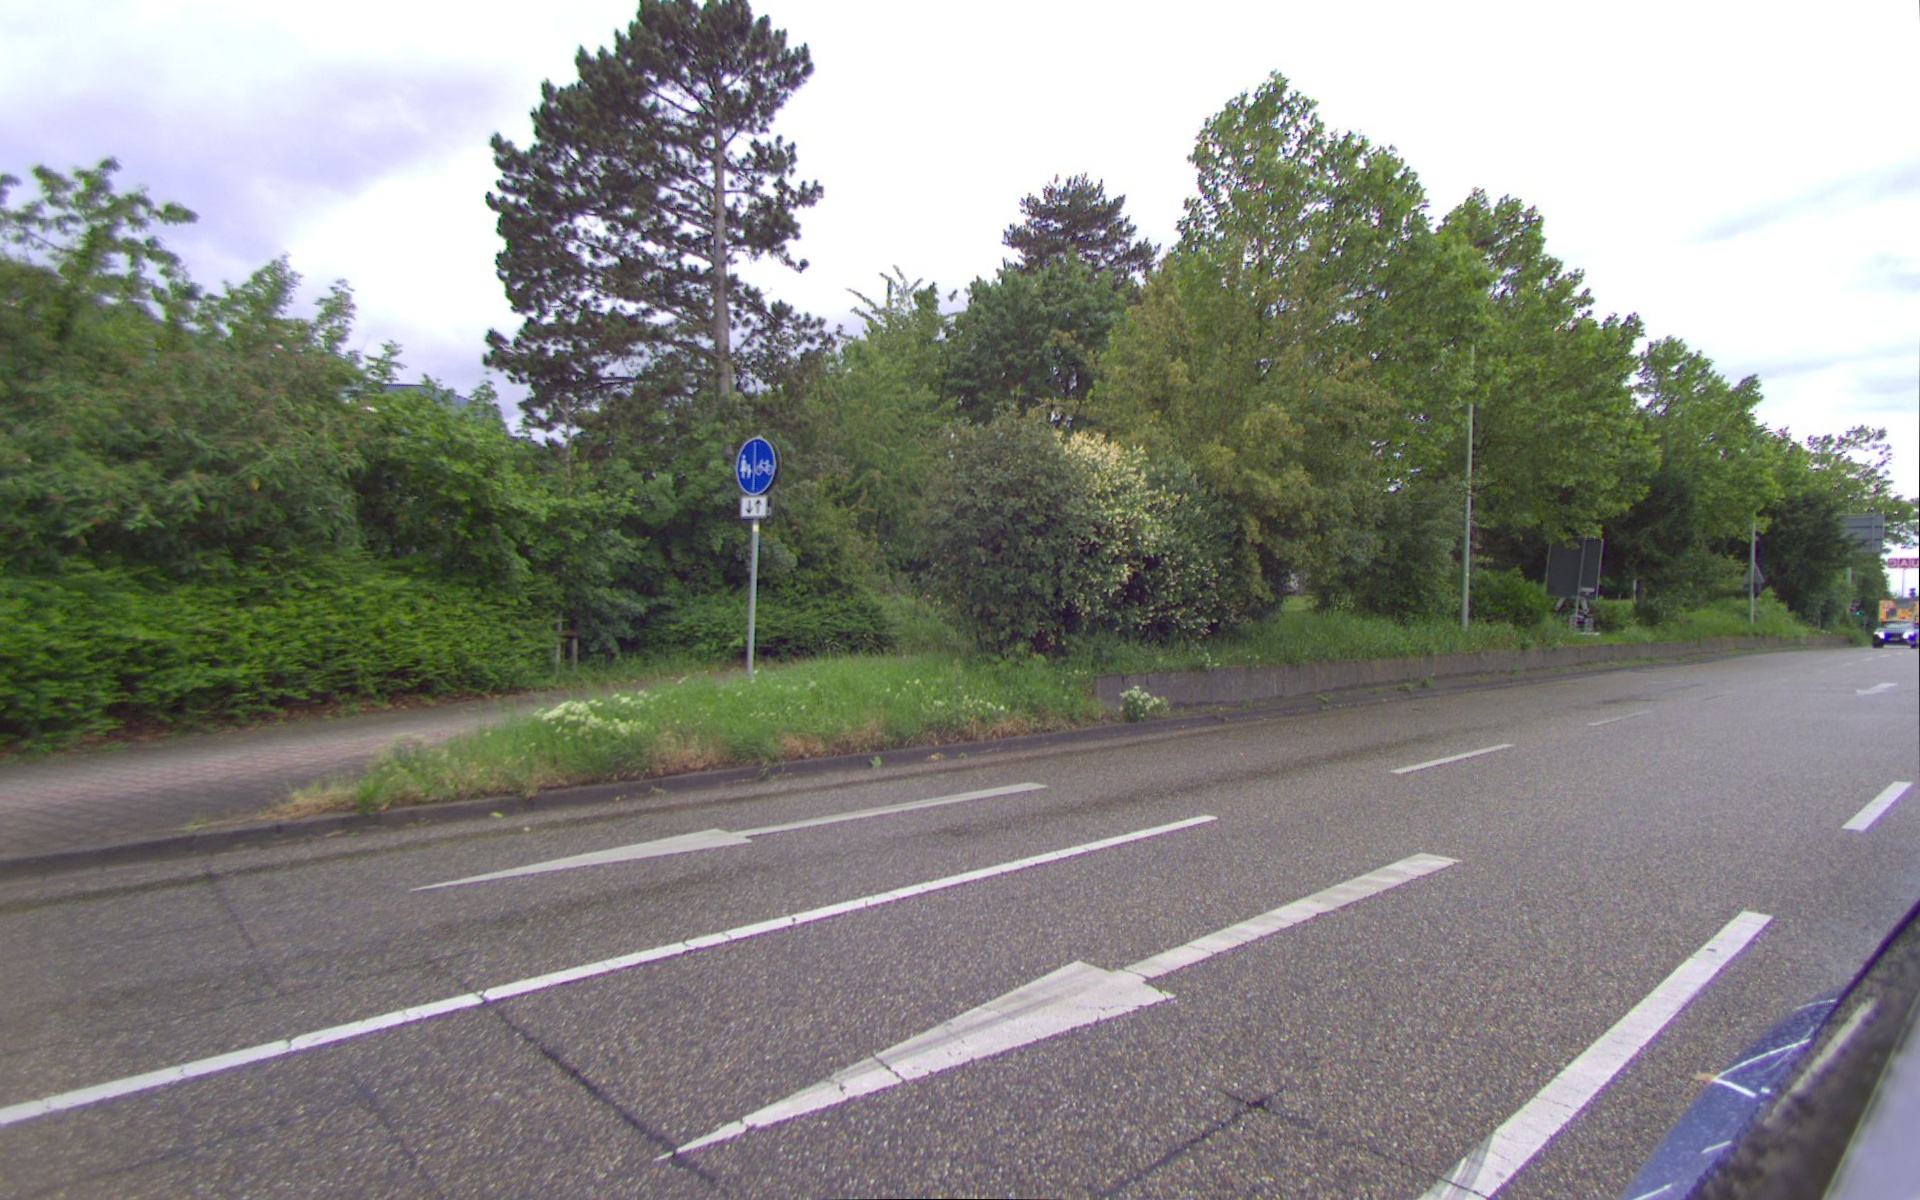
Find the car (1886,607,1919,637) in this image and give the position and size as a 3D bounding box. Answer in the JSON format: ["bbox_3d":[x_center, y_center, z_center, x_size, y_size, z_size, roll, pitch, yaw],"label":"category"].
[{"bbox_3d":[53.584,1.235,57.118,3.778,1.643,1.702,1,-1,-44],"label":"car"}]
